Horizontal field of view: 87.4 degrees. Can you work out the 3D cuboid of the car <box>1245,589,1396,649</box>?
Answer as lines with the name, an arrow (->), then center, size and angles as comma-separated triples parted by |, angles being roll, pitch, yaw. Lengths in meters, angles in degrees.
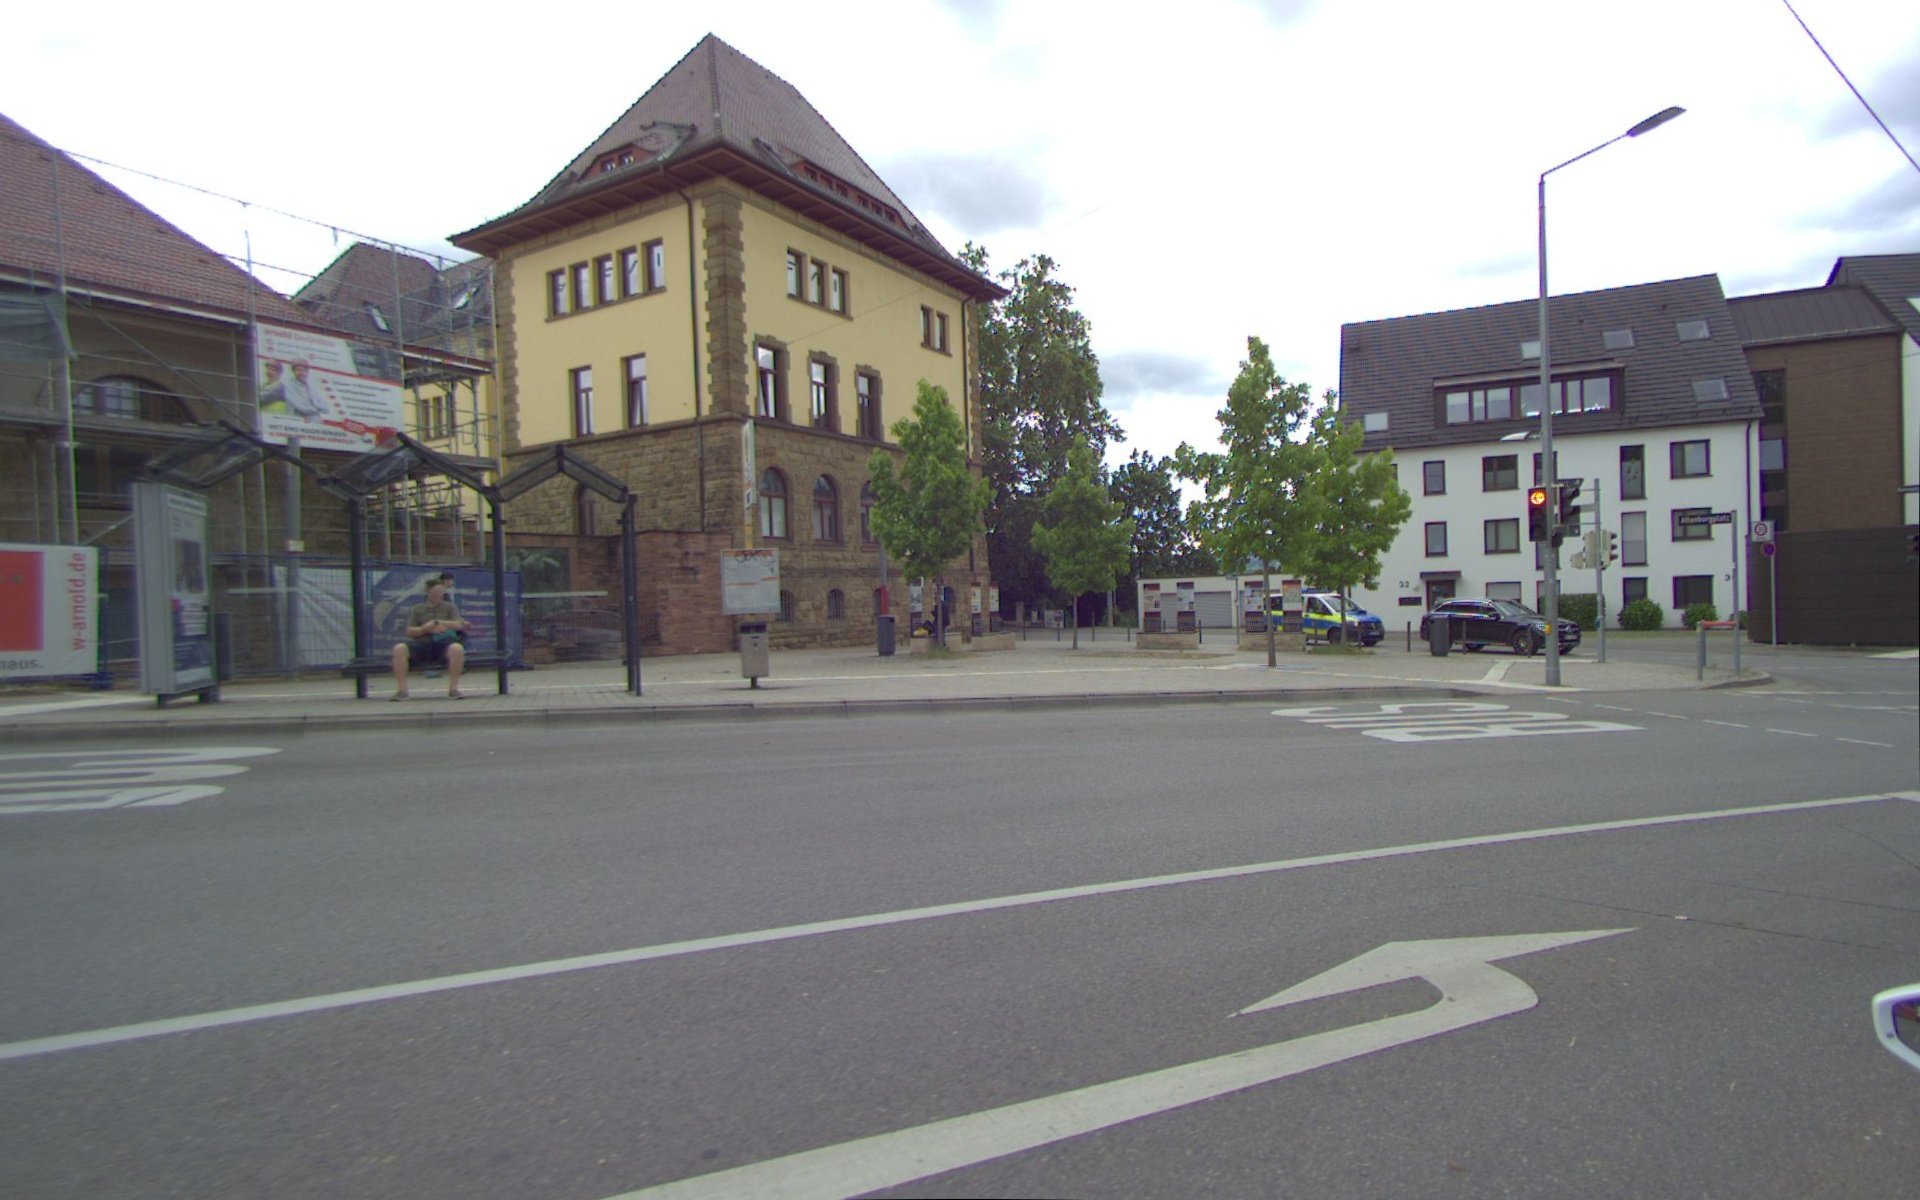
car -> 13.078, 0.658, 36.774 | 1.979, 2.040, 5.045 | 1, 0, -33

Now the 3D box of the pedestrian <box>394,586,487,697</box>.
pedestrian -> -5.958, 0.476, 11.497 | 0.895, 1.208, 0.928 | 1, -3, -30

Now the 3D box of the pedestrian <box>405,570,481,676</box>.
pedestrian -> -8.834, 0.380, 17.167 | 0.910, 1.743, 0.796 | 1, 0, 34

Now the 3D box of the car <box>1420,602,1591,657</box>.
car -> 16.484, 0.842, 30.591 | 1.974, 1.533, 4.245 | 1, 0, -26

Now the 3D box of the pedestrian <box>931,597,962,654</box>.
pedestrian -> -0.376, 0.707, 28.147 | 0.649, 1.598, 0.533 | 1, 0, -44
